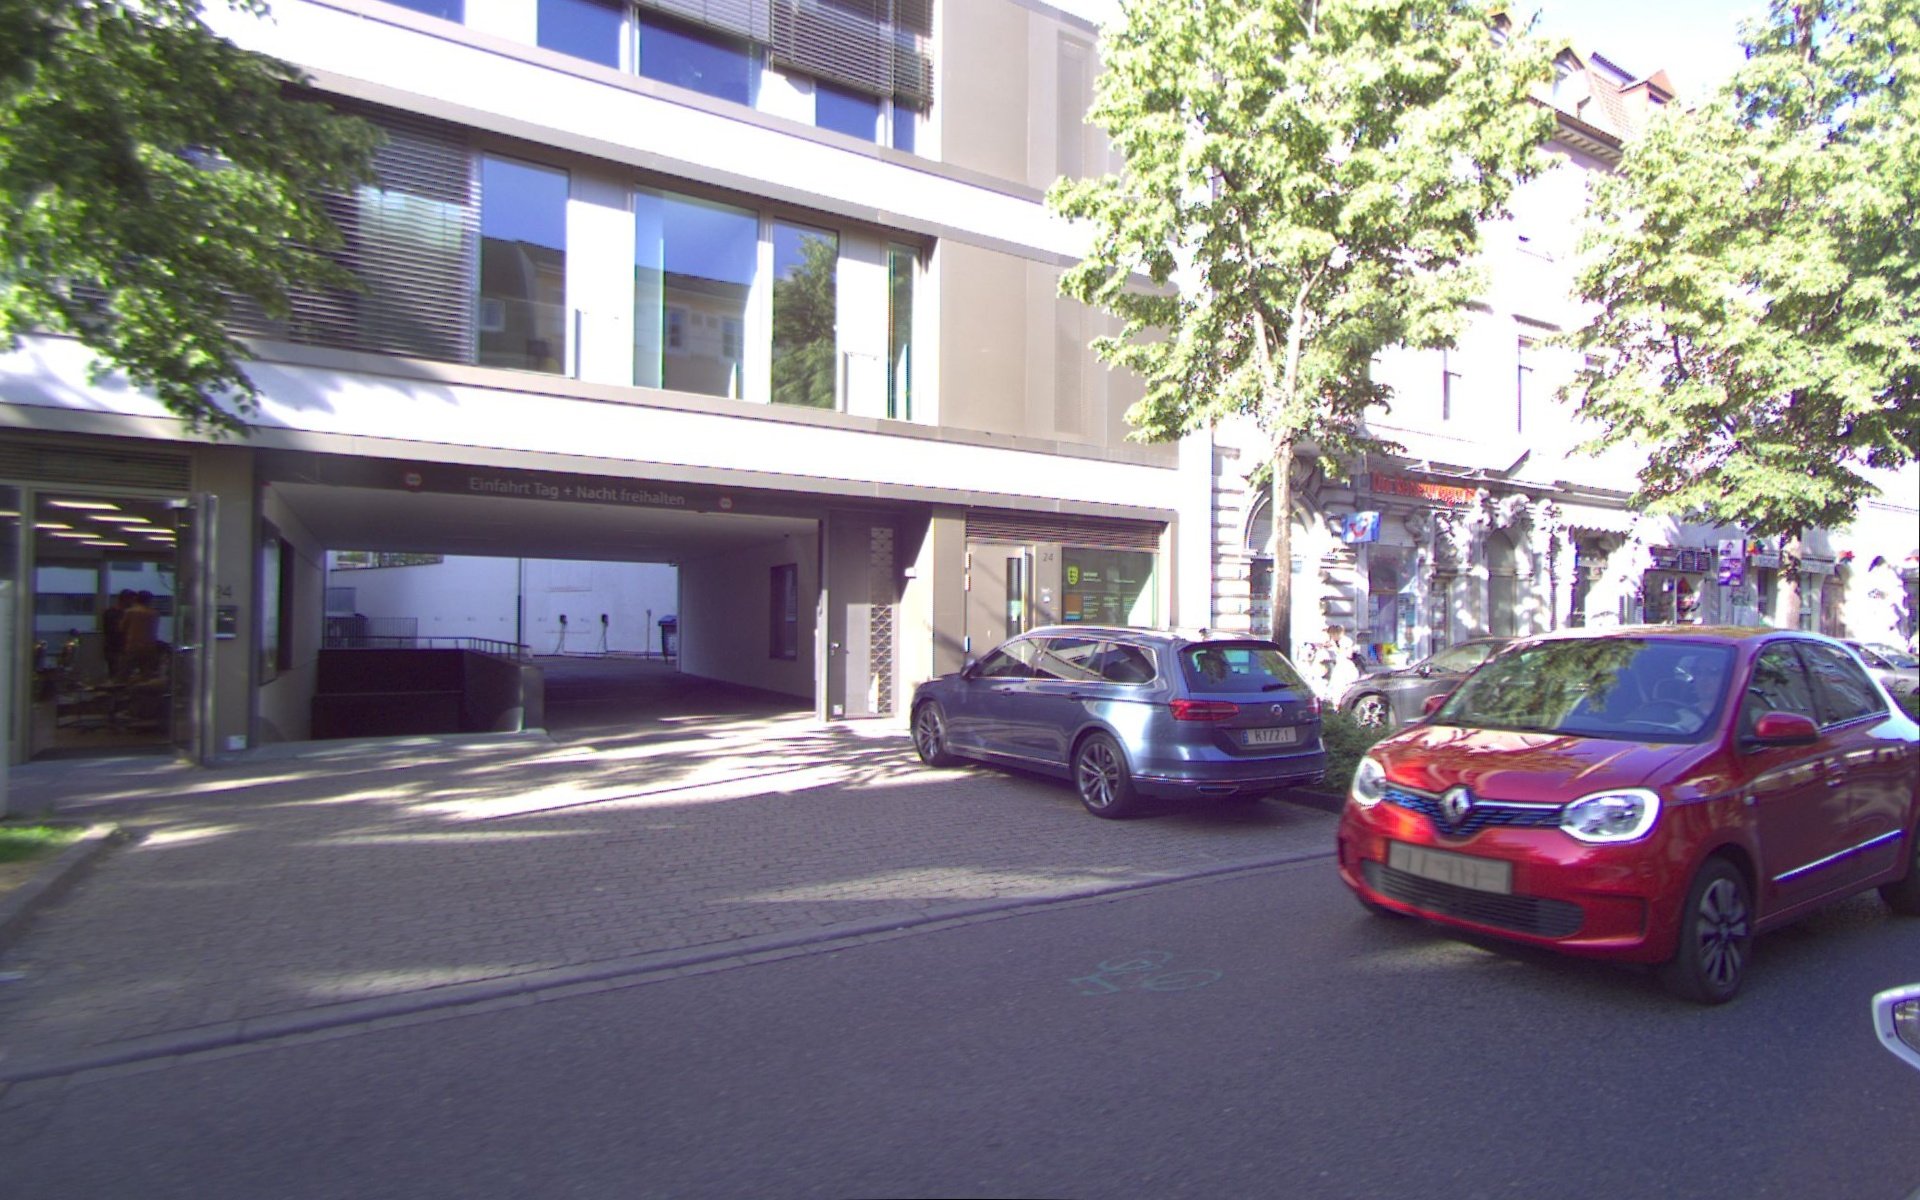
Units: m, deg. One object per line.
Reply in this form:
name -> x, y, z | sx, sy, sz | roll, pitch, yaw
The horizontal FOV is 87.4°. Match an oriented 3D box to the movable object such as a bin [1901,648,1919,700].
movable object such as a bin -> 20.847, 1.596, 21.715 | 0.796, 1.083, 0.528 | 1, -2, -32

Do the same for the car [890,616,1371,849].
car -> 1.222, 0.940, 9.149 | 1.771, 1.478, 4.466 | 1, 0, -33

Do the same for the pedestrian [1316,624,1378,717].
pedestrian -> 6.184, 1.109, 16.071 | 0.814, 1.427, 0.506 | 0, 0, -26

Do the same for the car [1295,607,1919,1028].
car -> 3.745, 0.874, 5.402 | 3.716, 1.555, 1.651 | 1, -3, -30

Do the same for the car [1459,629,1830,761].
car -> 9.101, 1.162, 13.700 | 1.767, 1.448, 3.825 | 1, -1, -28

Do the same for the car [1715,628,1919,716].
car -> 17.195, 1.322, 19.129 | 1.718, 1.488, 4.187 | 1, -1, -28

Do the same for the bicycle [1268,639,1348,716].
bicycle -> 5.705, 1.248, 16.456 | 1.281, 1.208, 0.455 | 1, 1, -27

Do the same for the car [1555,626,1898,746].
car -> 11.243, 1.168, 15.000 | 1.719, 1.488, 3.730 | 1, -1, -30

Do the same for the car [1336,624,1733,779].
car -> 6.765, 1.079, 12.276 | 1.749, 1.505, 3.903 | 1, -1, -28
